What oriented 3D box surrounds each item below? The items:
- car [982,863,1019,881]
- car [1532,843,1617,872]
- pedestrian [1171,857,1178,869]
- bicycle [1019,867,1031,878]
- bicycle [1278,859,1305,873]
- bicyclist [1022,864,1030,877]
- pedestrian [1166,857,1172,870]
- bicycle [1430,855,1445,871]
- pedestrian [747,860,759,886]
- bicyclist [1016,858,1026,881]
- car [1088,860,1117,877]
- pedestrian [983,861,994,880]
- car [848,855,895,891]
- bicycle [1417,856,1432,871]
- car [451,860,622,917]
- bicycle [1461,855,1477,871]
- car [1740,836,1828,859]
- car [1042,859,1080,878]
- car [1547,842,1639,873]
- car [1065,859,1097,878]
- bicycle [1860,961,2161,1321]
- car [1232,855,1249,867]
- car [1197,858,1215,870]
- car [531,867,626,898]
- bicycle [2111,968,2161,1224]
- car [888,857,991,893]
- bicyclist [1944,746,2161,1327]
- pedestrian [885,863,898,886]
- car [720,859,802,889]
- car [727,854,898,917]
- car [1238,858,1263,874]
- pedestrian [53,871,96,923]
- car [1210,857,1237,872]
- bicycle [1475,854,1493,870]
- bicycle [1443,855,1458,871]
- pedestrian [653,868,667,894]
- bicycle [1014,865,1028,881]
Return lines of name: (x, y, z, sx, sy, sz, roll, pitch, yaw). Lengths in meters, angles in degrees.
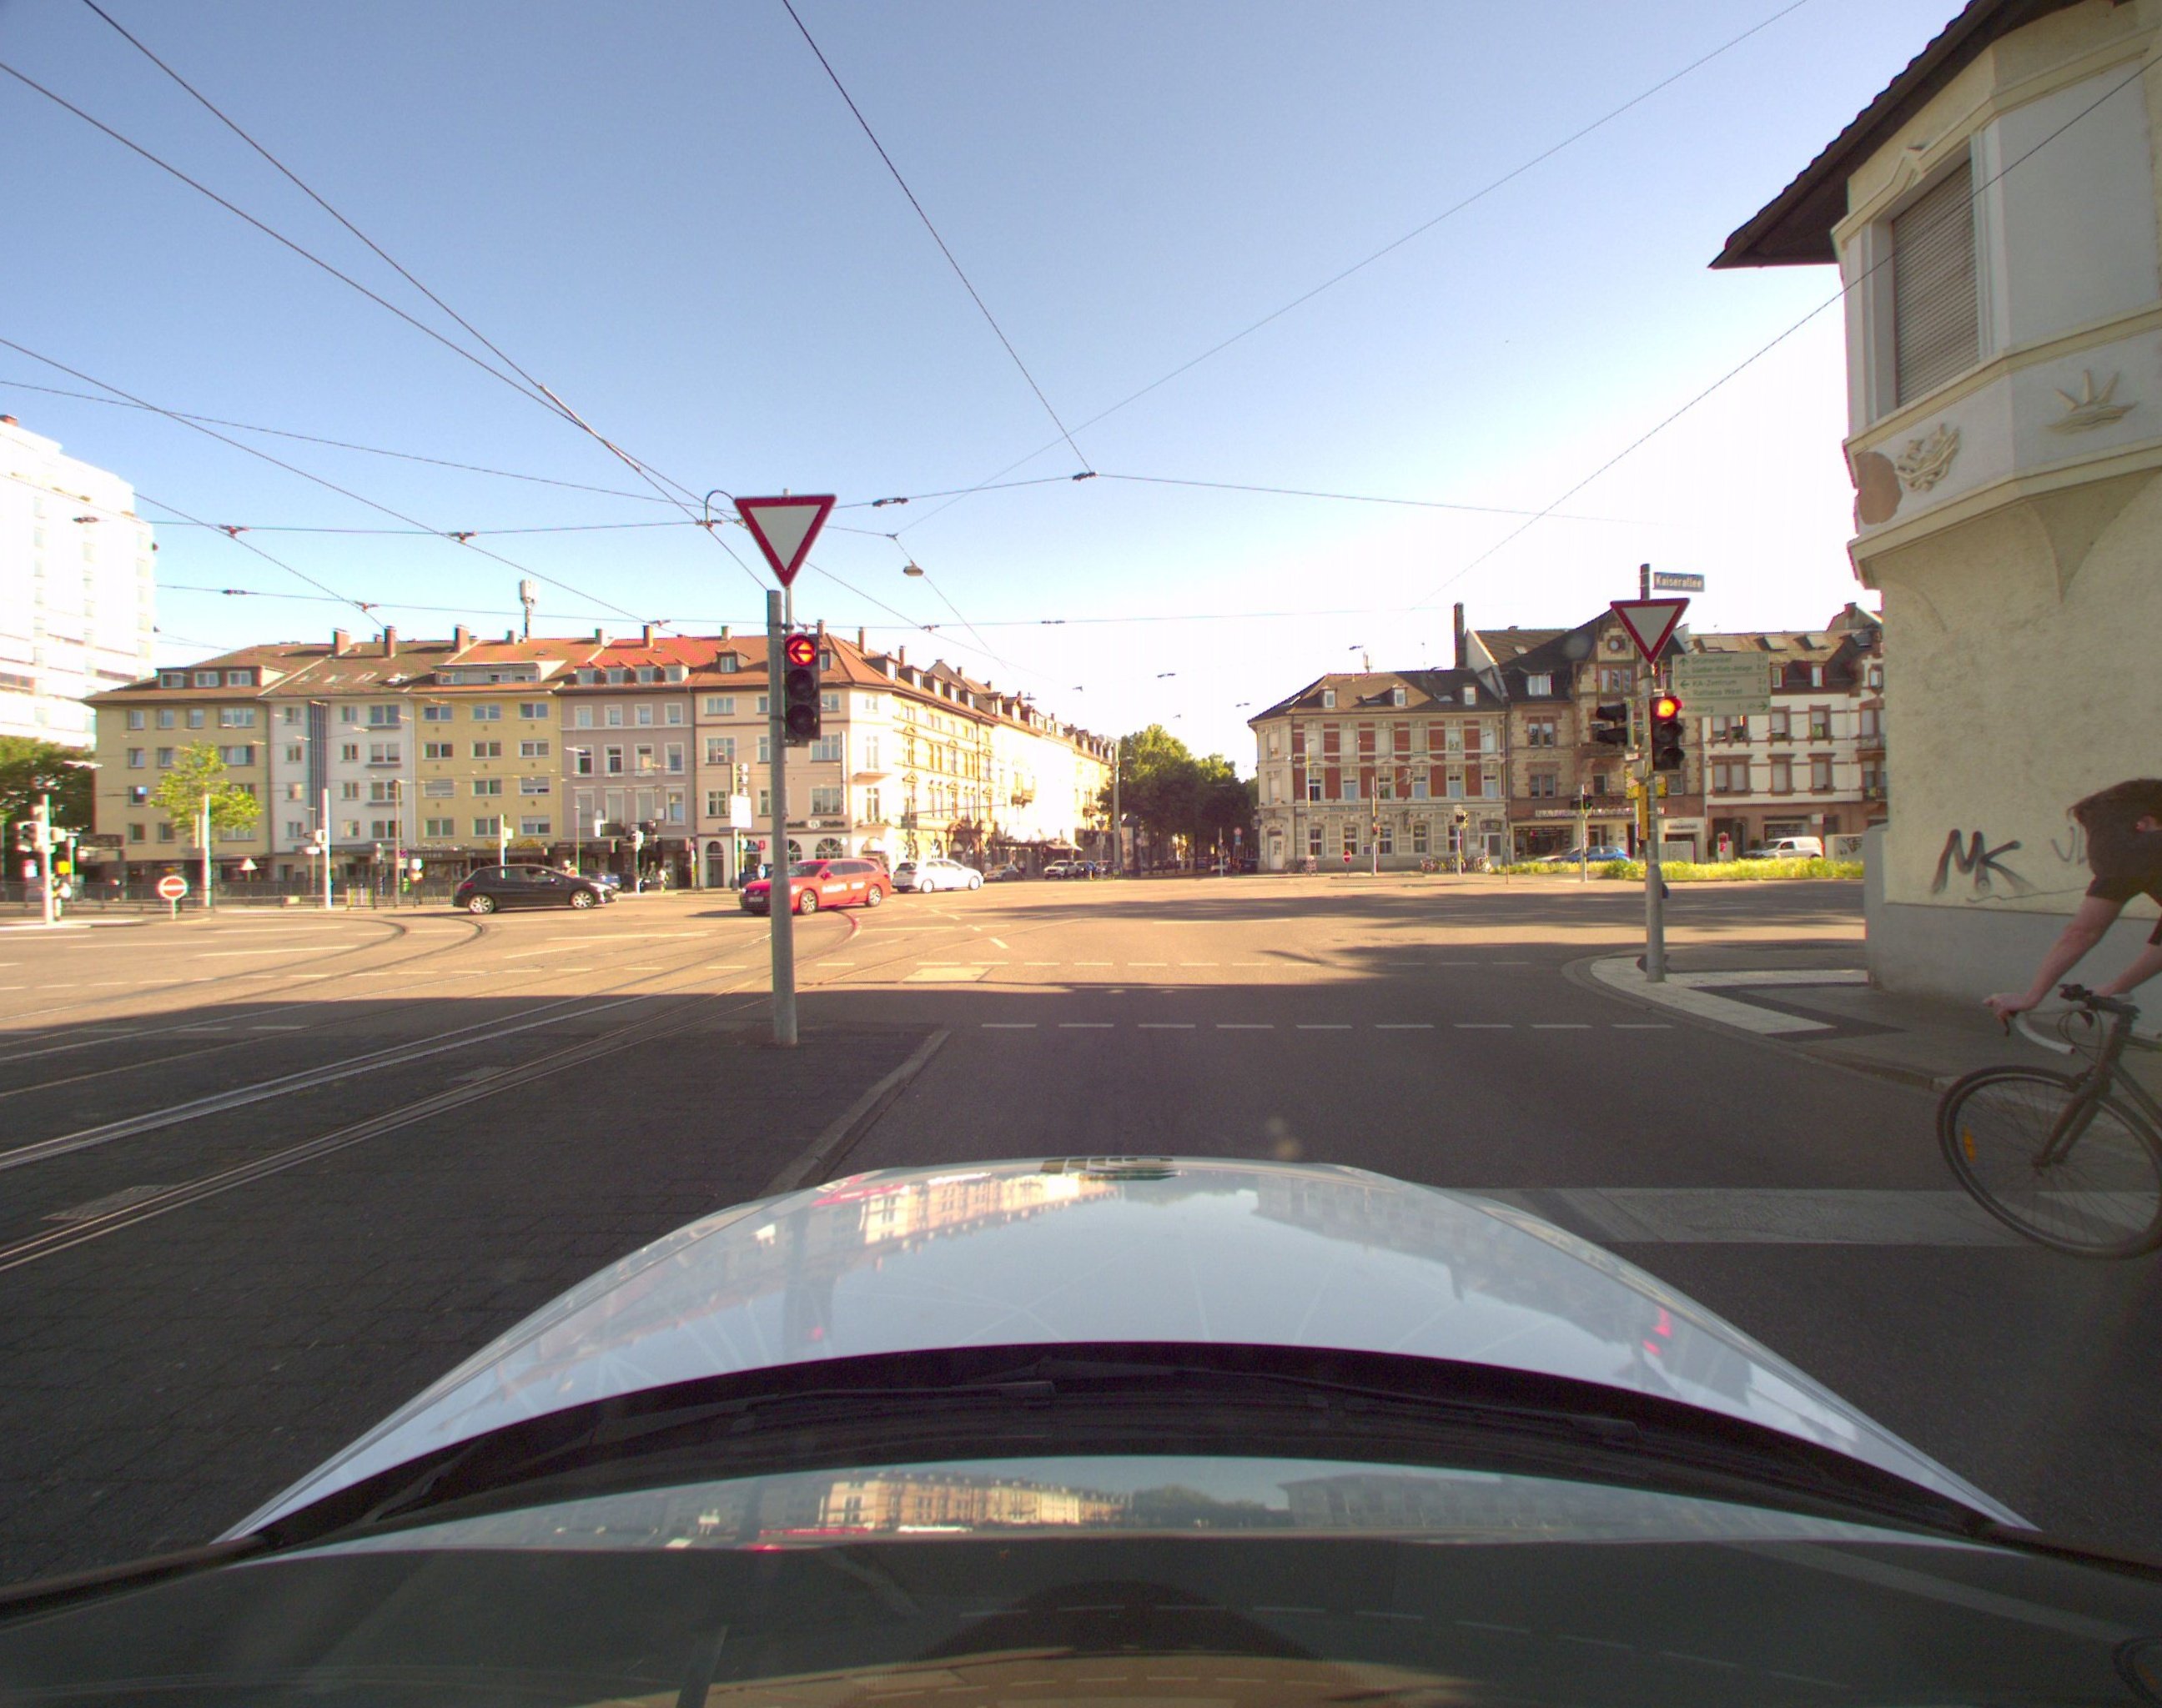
car: (-6.622, 1.475, 67.365, 1.647, 1.374, 3.909, -1, -1, 17)
car: (29.166, 0.211, 48.217, 3.970, 1.622, 1.806, 0, -1, 3)
pedestrian: (13.248, 1.283, 115.969, 0.714, 1.790, 0.690, 0, -1, -34)
bicycle: (-4.652, 1.514, 67.585, 0.469, 0.922, 1.458, -1, -1, 17)
bicycle: (14.701, 0.840, 56.922, 1.789, 0.963, 0.606, -1, -1, 16)
bicyclist: (-4.602, 1.389, 67.765, 0.469, 1.040, 0.540, -1, -1, 17)
pedestrian: (13.308, 1.462, 123.334, 0.747, 2.014, 1.002, -1, -1, 10)
bicycle: (23.253, 0.583, 53.096, 0.758, 0.968, 2.221, -1, -1, 20)
pedestrian: (-20.645, 1.211, 51.283, 0.520, 1.648, 0.498, 0, -1, 1)
bicyclist: (-4.803, 1.221, 65.312, 0.561, 1.804, 0.918, -1, -1, 17)
car: (2.164, 1.372, 79.623, 1.788, 1.575, 3.908, -1, -1, 17)
pedestrian: (-8.015, 1.441, 70.499, 0.562, 1.642, 0.797, -1, -1, 25)
car: (-10.414, 0.907, 40.297, 1.874, 1.602, 4.424, -2, 0, -20)
bicycle: (22.498, 0.590, 53.363, 0.758, 0.963, 2.221, -1, -1, 20)
car: (-17.078, 1.036, 25.814, 4.218, 1.517, 1.983, -2, 0, -26)
bicycle: (25.179, 0.555, 52.870, 0.758, 1.007, 2.231, -1, -1, 20)
car: (45.189, -0.422, 52.442, 3.961, 1.438, 1.874, 0, -1, 5)
car: (-1.621, 1.188, 67.455, 1.788, 1.585, 4.179, -1, -1, 19)
car: (28.323, 0.191, 45.121, 3.970, 1.622, 1.806, 0, -1, 3)
car: (0.042, 1.302, 73.758, 1.809, 1.685, 3.893, -1, -1, 18)
bicycle: (3.589, 0.952, 2.626, 0.480, 0.991, 1.783, 0, -1, 2)
car: (20.166, 0.918, 103.031, 1.812, 1.403, 4.016, -1, 0, 15)
car: (17.834, 1.381, 116.290, 1.978, 1.684, 4.018, -1, -1, 17)
car: (-27.761, 1.549, 45.017, 4.164, 1.575, 1.834, -1, 0, 5)
bicycle: (4.459, 0.951, 2.447, 0.501, 0.983, 1.783, 0, -1, 2)
car: (-6.064, 0.881, 35.271, 1.712, 1.389, 4.254, -2, 0, 42)
bicyclist: (3.585, 0.556, 2.630, 0.587, 1.767, 0.936, 0, -1, 2)
pedestrian: (-13.180, 1.430, 56.736, 0.666, 1.594, 0.815, 0, -1, 1)
car: (-17.782, 1.105, 45.335, 3.878, 1.503, 1.798, -1, 1, 15)
car: (-7.336, 0.786, 22.867, 1.782, 1.469, 4.901, -1, 1, 22)
car: (17.102, 1.173, 82.246, 1.741, 1.556, 4.021, -1, -1, 22)
pedestrian: (-31.641, 1.342, 25.609, 0.770, 1.609, 0.605, 0, -1, -44)
car: (15.264, 1.112, 86.951, 1.875, 1.454, 4.031, -2, 0, 24)
bicycle: (26.040, 0.527, 52.675, 0.785, 1.016, 2.221, -1, -1, 20)
bicycle: (24.068, 0.577, 53.048, 0.758, 0.983, 2.221, -1, -1, 20)
pedestrian: (-27.441, 1.741, 53.072, 0.582, 1.648, 0.616, 0, -1, 1)
bicycle: (-4.784, 1.496, 65.335, 0.561, 1.254, 1.564, -1, -1, 17)
